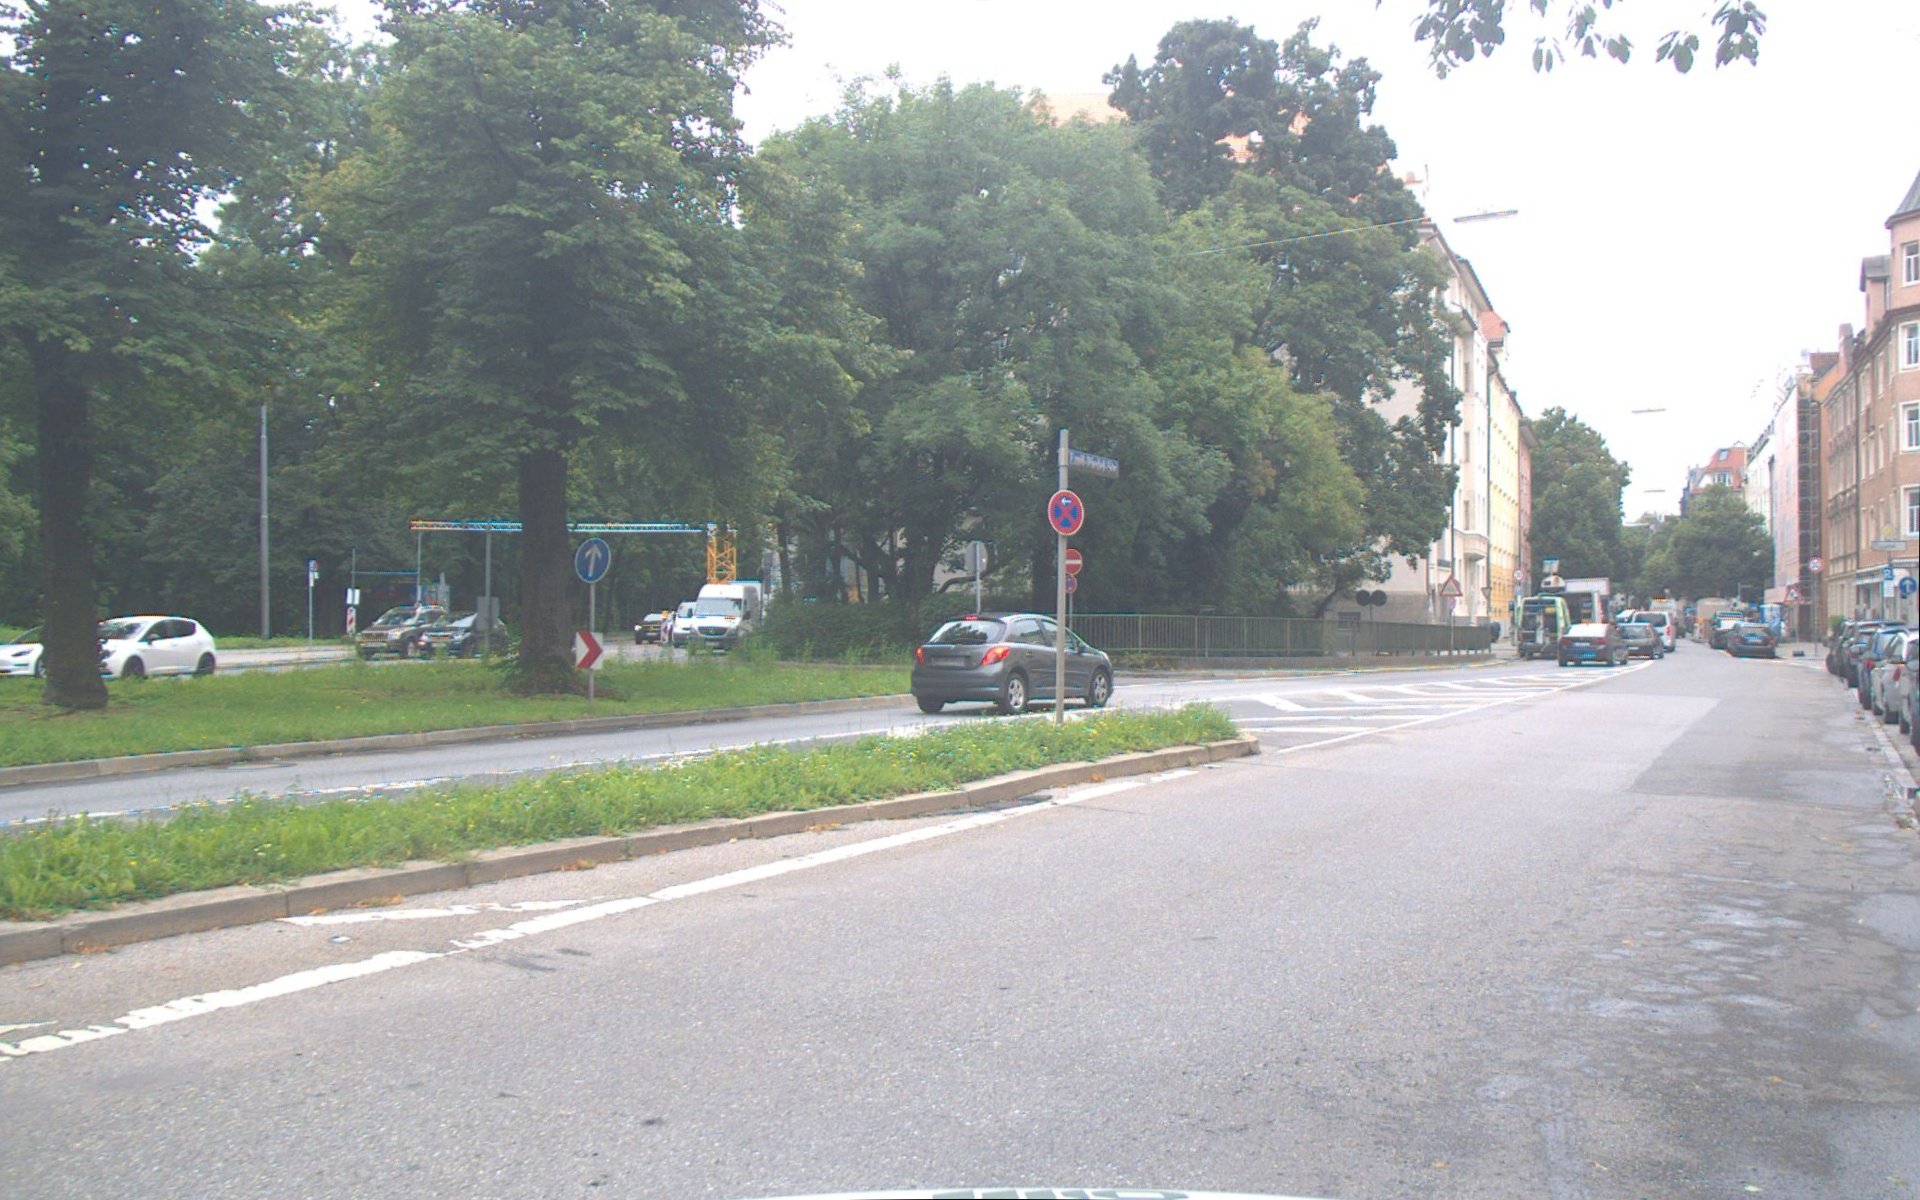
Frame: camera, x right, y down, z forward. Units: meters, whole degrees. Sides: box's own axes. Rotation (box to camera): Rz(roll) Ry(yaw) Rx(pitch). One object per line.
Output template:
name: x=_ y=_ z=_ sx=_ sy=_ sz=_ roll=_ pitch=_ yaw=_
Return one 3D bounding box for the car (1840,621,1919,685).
car: x=23.409 y=1.329 z=42.001 sx=1.723 sy=1.522 sz=3.815 roll=-2 pitch=-2 yaw=29

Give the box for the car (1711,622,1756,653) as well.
car: x=40.444 y=1.941 z=86.514 sx=1.807 sy=1.454 sz=4.306 roll=3 pitch=1 yaw=22

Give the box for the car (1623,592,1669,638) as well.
car: x=32.609 y=0.691 z=78.589 sx=1.950 sy=2.111 sz=4.138 roll=-1 pitch=0 yaw=24

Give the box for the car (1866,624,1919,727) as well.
car: x=15.490 y=1.143 z=26.351 sx=1.657 sy=1.522 sz=4.428 roll=-2 pitch=-2 yaw=27

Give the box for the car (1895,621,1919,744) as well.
car: x=13.390 y=1.025 z=21.827 sx=1.596 sy=1.522 sz=3.782 roll=-2 pitch=-2 yaw=27

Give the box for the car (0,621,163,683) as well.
car: x=-22.710 y=1.312 z=42.082 sx=1.951 sy=1.472 sz=4.426 roll=-2 pitch=-1 yaw=15

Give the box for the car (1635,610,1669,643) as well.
car: x=44.404 y=1.689 z=106.140 sx=1.953 sy=2.049 sz=3.999 roll=-1 pitch=-1 yaw=22

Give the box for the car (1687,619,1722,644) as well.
car: x=46.411 y=1.955 z=103.140 sx=1.950 sy=1.454 sz=4.138 roll=-1 pitch=0 yaw=24

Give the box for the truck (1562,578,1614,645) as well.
truck: x=39.080 y=0.709 z=102.876 sx=2.950 sy=4.021 sz=6.994 roll=0 pitch=-1 yaw=22

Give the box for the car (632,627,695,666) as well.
car: x=-14.745 y=2.298 z=82.491 sx=1.654 sy=1.907 sz=4.003 roll=-1 pitch=-1 yaw=13

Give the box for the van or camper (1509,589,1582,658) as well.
van or camper: x=25.664 y=0.986 z=72.336 sx=2.548 sy=2.890 sz=6.183 roll=-1 pitch=0 yaw=24

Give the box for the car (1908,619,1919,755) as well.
car: x=11.166 y=0.940 z=17.633 sx=1.596 sy=1.522 sz=3.816 roll=-2 pitch=-2 yaw=27

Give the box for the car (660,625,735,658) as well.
car: x=-12.295 y=1.927 z=77.714 sx=1.851 sy=1.472 sz=4.391 roll=-1 pitch=-1 yaw=15

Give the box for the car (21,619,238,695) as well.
car: x=-17.482 y=1.174 z=35.052 sx=1.788 sy=1.472 sz=4.239 roll=-2 pitch=-1 yaw=14

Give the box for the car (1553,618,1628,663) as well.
car: x=22.199 y=1.392 z=58.122 sx=1.951 sy=1.454 sz=4.900 roll=-1 pitch=0 yaw=27

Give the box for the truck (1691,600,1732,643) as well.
truck: x=53.532 y=1.531 z=117.884 sx=2.441 sy=3.025 sz=5.326 roll=0 pitch=-1 yaw=22

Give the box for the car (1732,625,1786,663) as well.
car: x=35.303 y=1.913 z=73.126 sx=1.807 sy=1.454 sz=4.183 roll=3 pitch=1 yaw=22

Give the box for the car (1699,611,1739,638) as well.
car: x=43.094 y=1.364 z=93.958 sx=1.950 sy=1.454 sz=4.138 roll=-1 pitch=0 yaw=24

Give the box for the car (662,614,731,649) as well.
car: x=-11.527 y=1.352 z=72.562 sx=1.851 sy=1.472 sz=4.302 roll=-1 pitch=-1 yaw=7

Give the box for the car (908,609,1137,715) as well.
car: x=1.047 y=0.913 z=25.472 sx=1.727 sy=1.486 sz=4.063 roll=-1 pitch=-1 yaw=32

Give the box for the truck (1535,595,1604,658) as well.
truck: x=30.081 y=1.251 z=81.472 sx=2.717 sy=2.923 sz=7.198 roll=-1 pitch=0 yaw=24

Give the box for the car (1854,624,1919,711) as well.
car: x=17.836 y=1.213 z=30.999 sx=1.722 sy=1.522 sz=4.482 roll=-2 pitch=-2 yaw=27

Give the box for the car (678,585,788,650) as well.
car: x=-8.429 y=0.682 z=61.936 sx=2.252 sy=2.310 sz=5.132 roll=-1 pitch=-1 yaw=15

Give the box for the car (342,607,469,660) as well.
car: x=-19.358 y=1.167 z=57.971 sx=1.951 sy=1.748 sz=4.651 roll=-2 pitch=-1 yaw=15

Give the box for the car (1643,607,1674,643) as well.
car: x=50.608 y=1.792 z=119.779 sx=1.901 sy=2.524 sz=4.779 roll=0 pitch=-1 yaw=25

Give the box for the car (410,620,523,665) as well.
car: x=-16.658 y=1.412 z=56.021 sx=1.851 sy=1.472 sz=4.036 roll=-1 pitch=-1 yaw=15

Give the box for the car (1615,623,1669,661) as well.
car: x=27.857 y=1.694 z=67.470 sx=1.950 sy=1.454 sz=4.138 roll=-1 pitch=0 yaw=24
